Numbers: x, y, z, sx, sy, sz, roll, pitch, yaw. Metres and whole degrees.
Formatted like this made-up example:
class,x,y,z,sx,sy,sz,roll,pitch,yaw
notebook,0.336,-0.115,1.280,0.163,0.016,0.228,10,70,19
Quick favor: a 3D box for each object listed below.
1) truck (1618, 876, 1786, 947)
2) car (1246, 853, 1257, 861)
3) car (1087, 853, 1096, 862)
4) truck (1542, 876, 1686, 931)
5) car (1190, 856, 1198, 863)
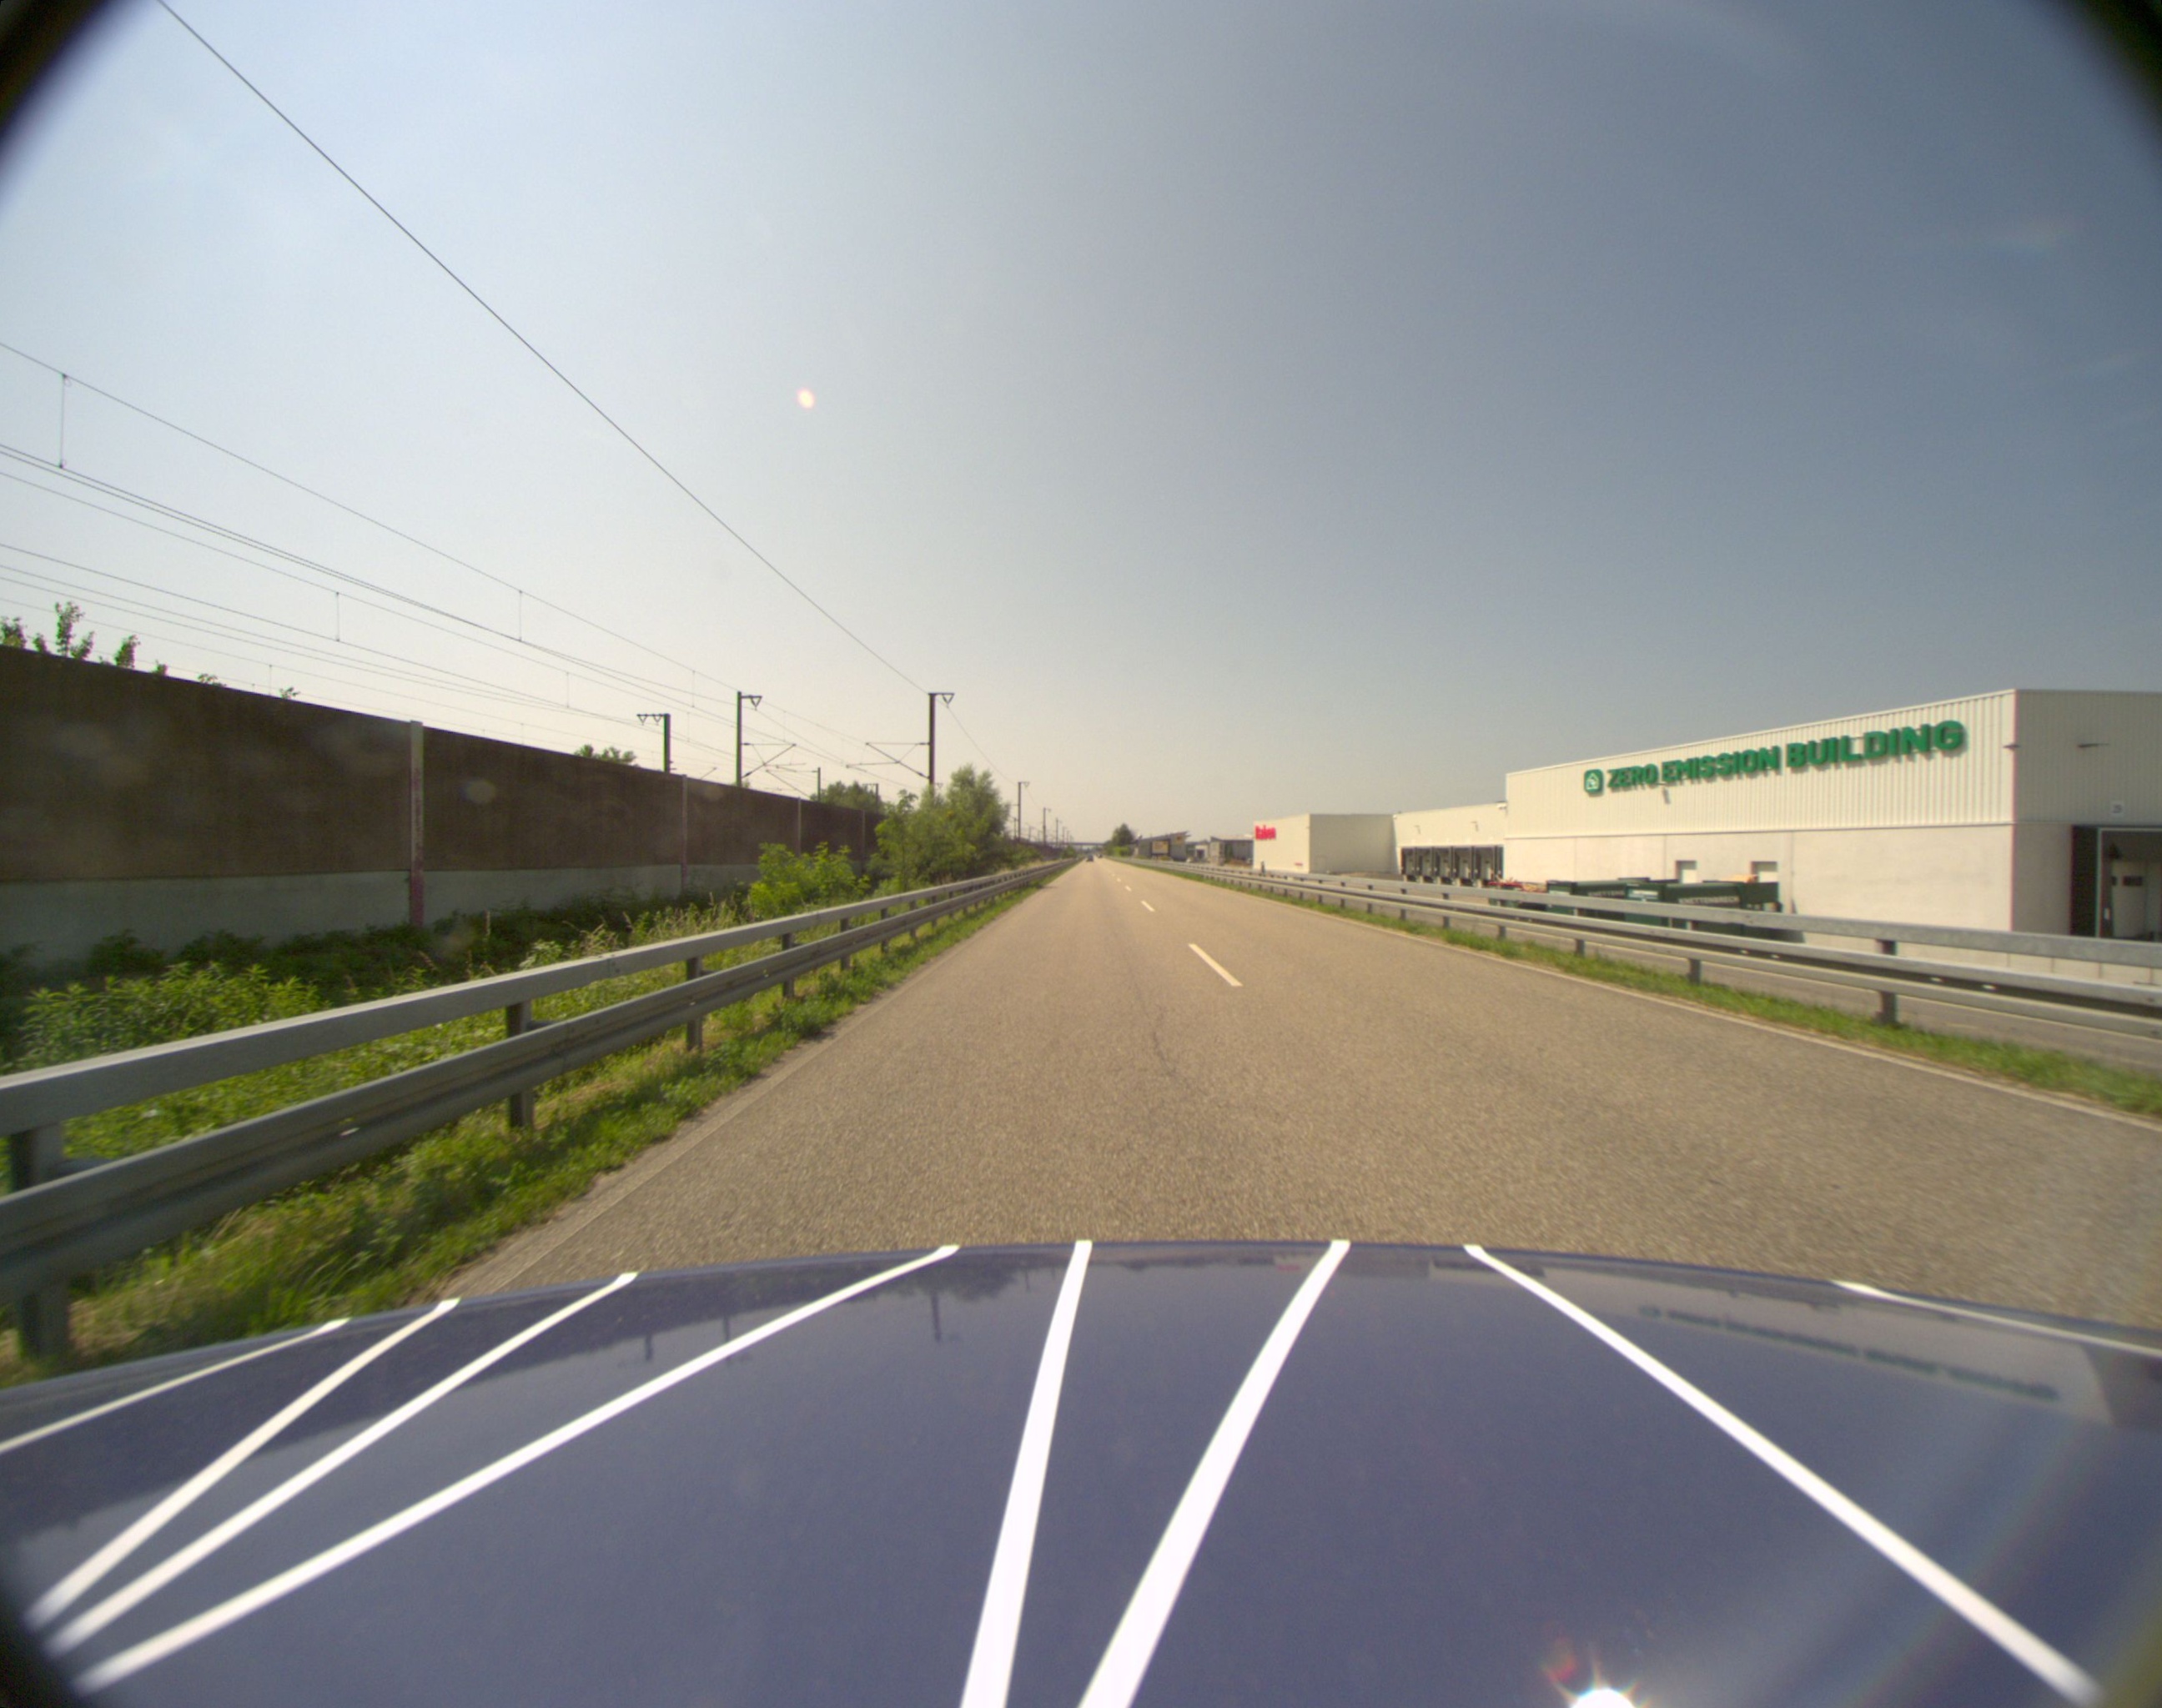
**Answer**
class,x,y,z,sx,sy,sz,roll,pitch,yaw
truck,24.970,2.253,30.689,5.059,2.523,2.272,-1,1,-4
car,44.828,0.680,200.130,1.999,2.002,3.999,-2,1,0
car,2.398,0.772,178.138,1.999,2.002,3.999,-1,0,-1
truck,24.267,2.216,34.768,5.021,2.320,2.232,-1,0,1
car,29.704,1.371,199.775,1.555,1.664,3.311,1,1,-4
